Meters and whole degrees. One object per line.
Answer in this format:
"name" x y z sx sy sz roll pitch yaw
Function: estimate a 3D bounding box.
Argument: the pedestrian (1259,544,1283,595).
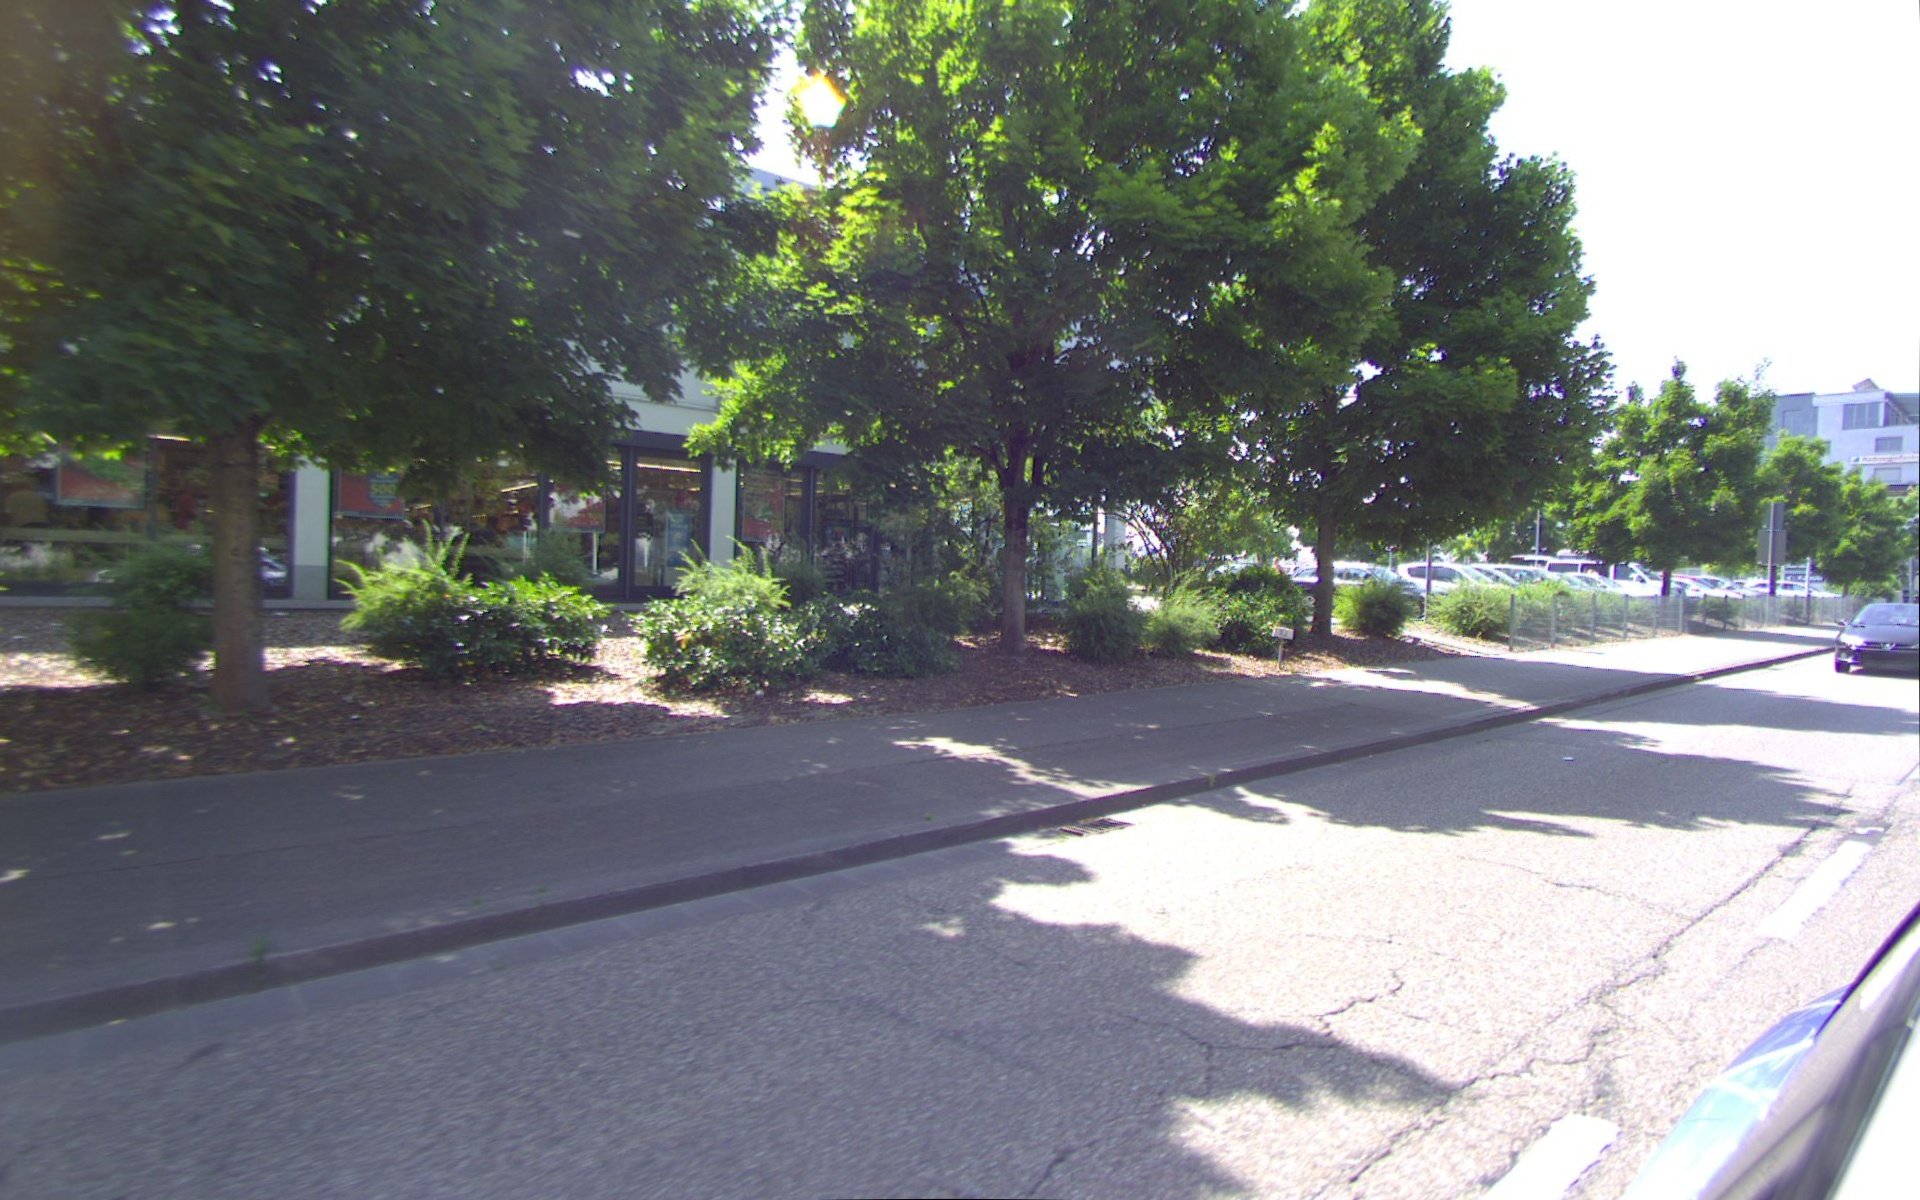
"pedestrian" 8.818 -0.857 28.658 0.409 1.430 0.448 0 2 -43

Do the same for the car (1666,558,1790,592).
"car" 35.117 -1.178 46.365 1.666 1.439 4.183 0 2 -36

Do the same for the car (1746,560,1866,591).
"car" 44.250 -1.313 53.011 1.667 1.523 4.587 0 2 -40

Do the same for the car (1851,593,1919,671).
"car" 18.690 0.577 19.735 3.441 1.373 1.639 -1 2 -43

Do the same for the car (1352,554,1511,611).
"car" 14.210 -0.505 30.623 1.796 1.616 3.991 -1 0 -42

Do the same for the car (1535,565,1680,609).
"car" 23.059 -0.491 36.173 1.794 1.407 3.998 0 2 -38

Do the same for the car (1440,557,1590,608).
"car" 18.414 -0.632 33.723 1.794 1.552 3.998 -2 3 -38

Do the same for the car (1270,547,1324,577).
"car" 17.379 -1.962 52.121 2.906 1.437 1.267 0 4 -41

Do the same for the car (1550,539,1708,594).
"car" 25.145 -1.268 38.198 1.794 1.948 4.629 0 2 -38

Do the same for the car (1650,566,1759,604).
"car" 32.914 -0.688 44.779 1.693 1.555 3.596 0 2 -41

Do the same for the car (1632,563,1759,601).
"car" 30.759 -0.778 42.407 1.667 1.439 4.006 0 2 -39

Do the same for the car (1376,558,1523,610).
"car" 15.993 -0.571 33.192 1.797 1.552 3.991 -2 4 -44

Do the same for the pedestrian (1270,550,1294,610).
"pedestrian" 9.213 -0.562 28.946 0.409 1.693 0.448 0 2 -43

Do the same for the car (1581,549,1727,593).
"car" 27.198 -1.154 39.793 1.794 1.612 4.378 0 2 -38

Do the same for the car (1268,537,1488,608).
"car" 10.957 -0.792 26.877 1.988 1.615 5.001 -1 4 -41

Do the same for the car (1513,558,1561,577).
"car" 46.839 -2.619 82.110 4.066 1.404 1.999 -1 1 -38
